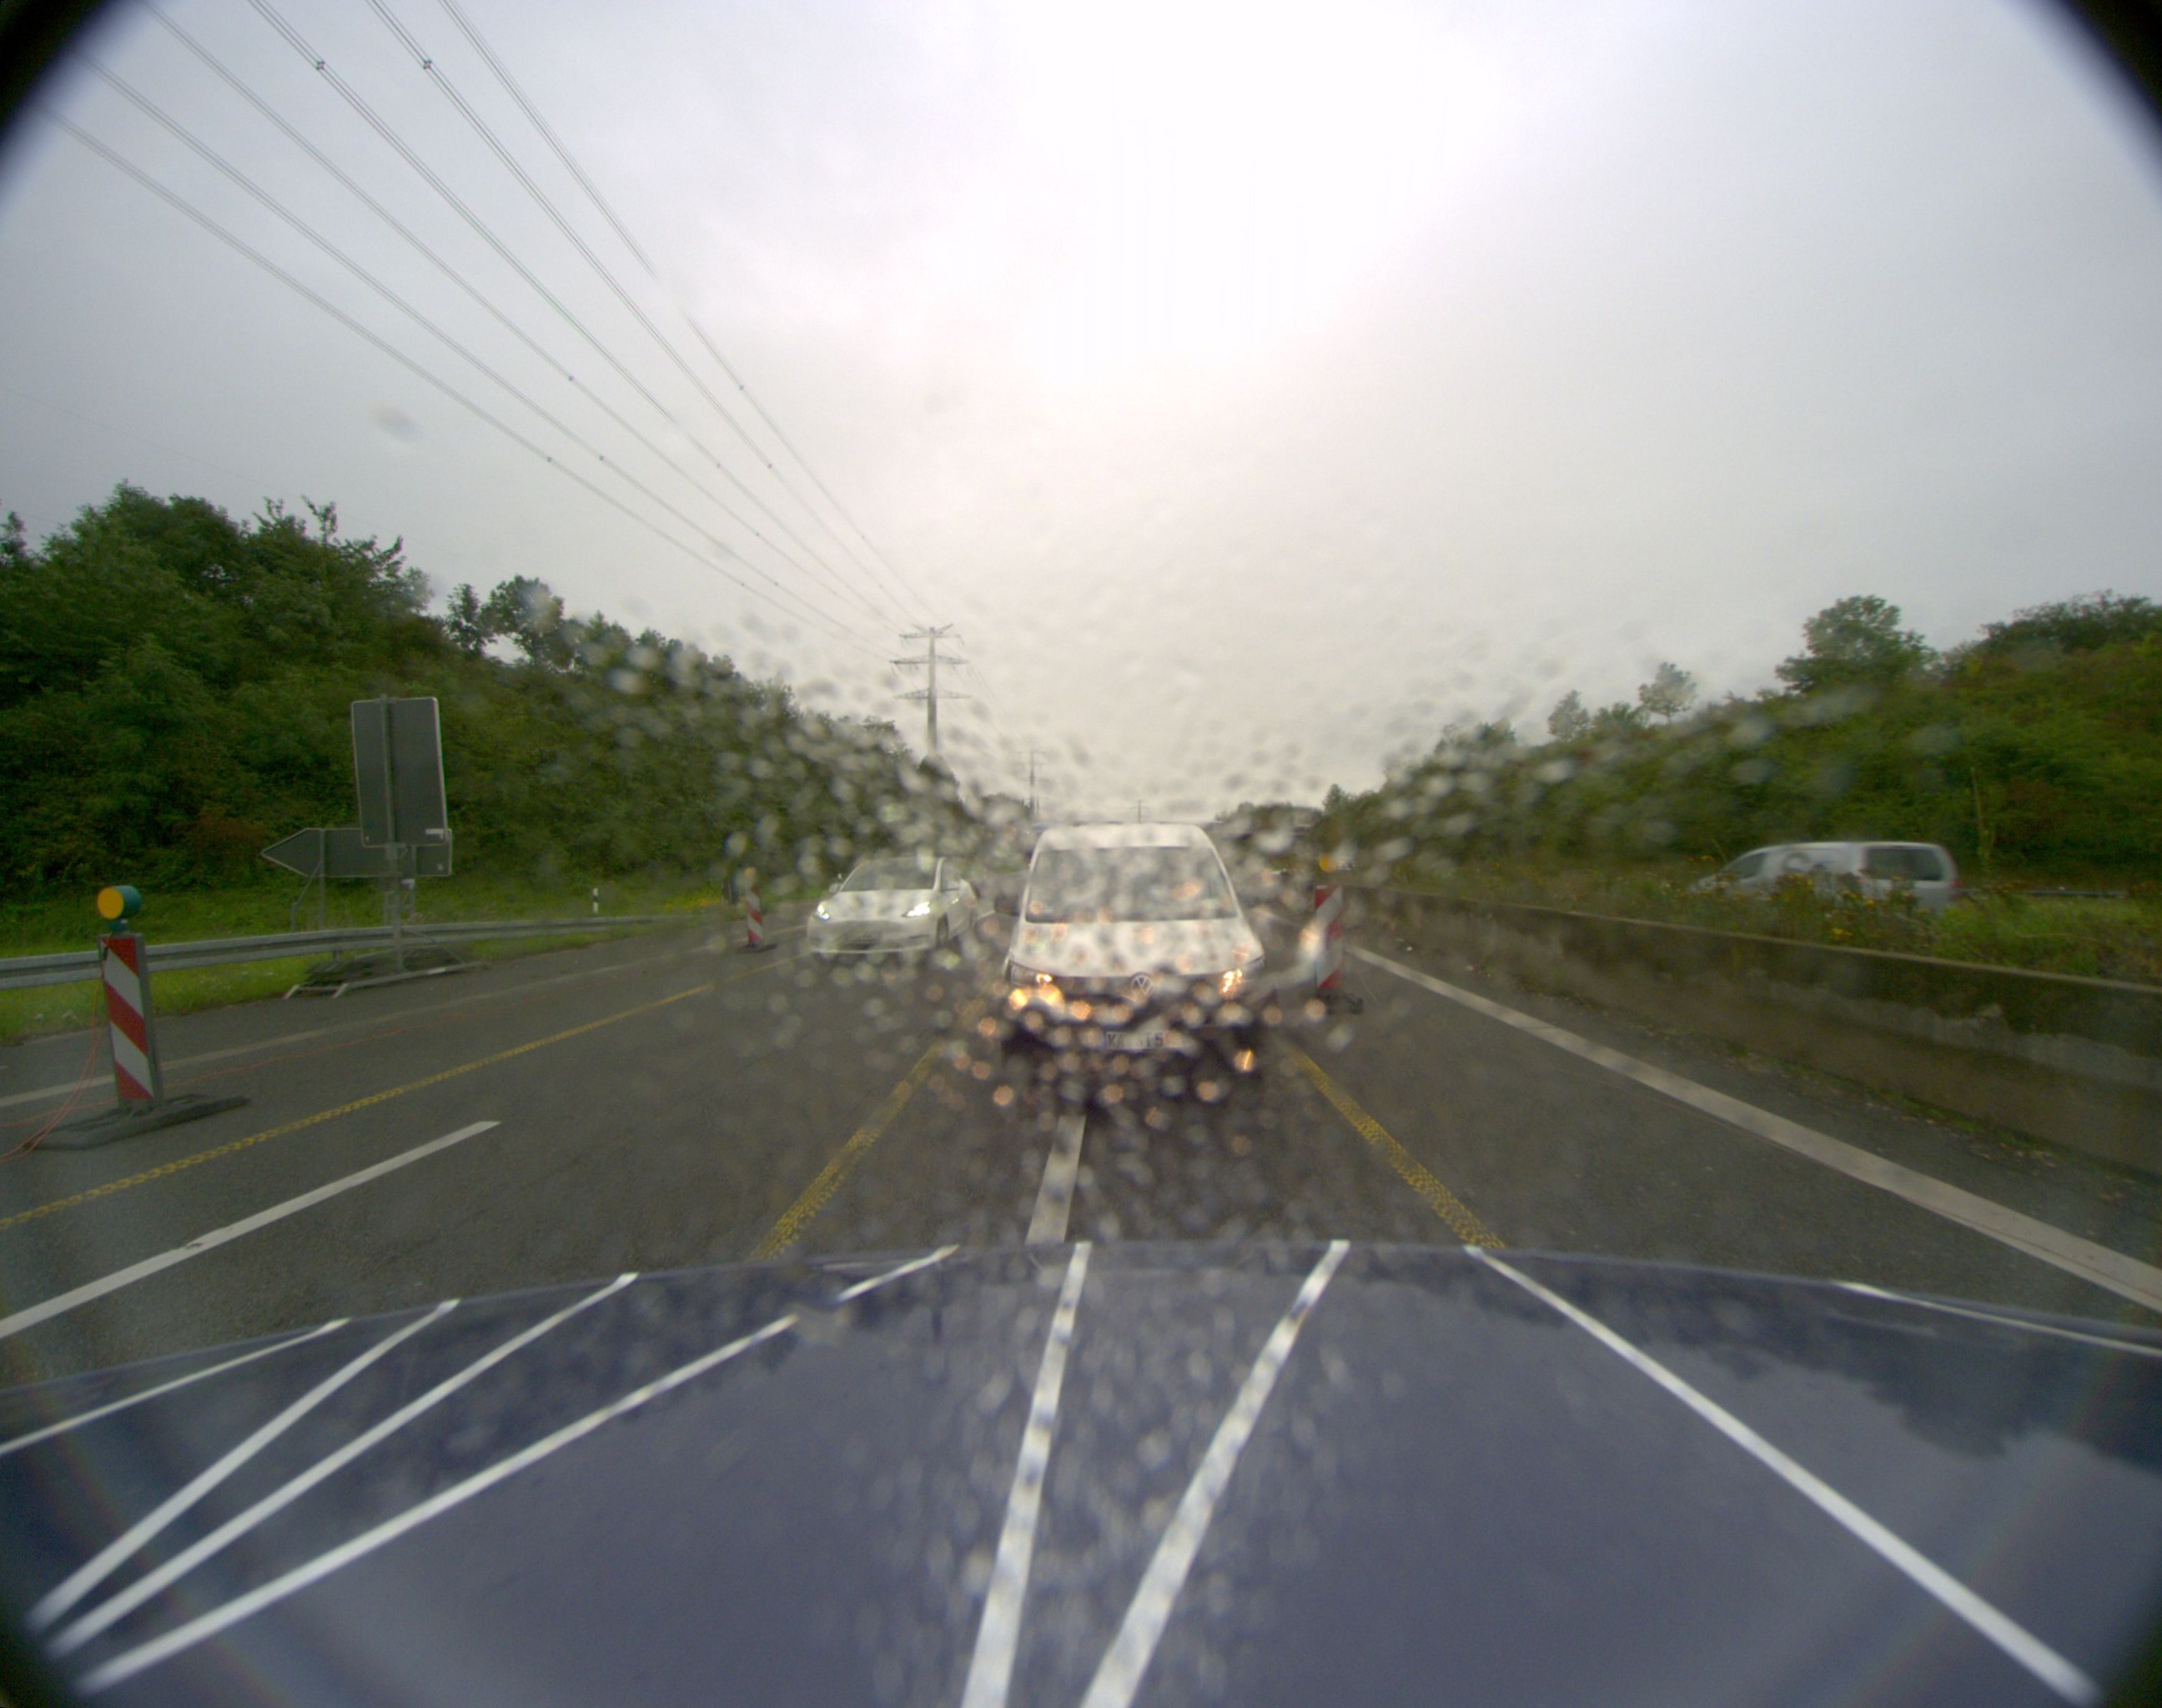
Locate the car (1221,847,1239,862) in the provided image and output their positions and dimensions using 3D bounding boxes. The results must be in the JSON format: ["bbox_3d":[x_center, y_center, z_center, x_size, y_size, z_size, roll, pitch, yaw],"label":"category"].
[{"bbox_3d":[24.708,0.048,125.935,2.245,2.426,5.885,0,0,4],"label":"car"}]

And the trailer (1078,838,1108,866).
[{"bbox_3d":[2.010,-0.406,119.054,2.807,3.980,14.155,-2,1,8],"label":"trailer"}]

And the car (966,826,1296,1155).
[{"bbox_3d":[0.311,0.756,6.551,1.770,1.774,4.647,-2,0,1],"label":"car"}]

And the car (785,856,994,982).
[{"bbox_3d":[-2.973,0.905,13.348,2.051,1.587,5.801,-2,0,1],"label":"car"}]

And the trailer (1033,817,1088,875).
[{"bbox_3d":[-1.331,-0.642,56.834,2.525,3.812,12.353,-2,1,5],"label":"trailer"}]

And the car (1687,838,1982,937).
[{"bbox_3d":[14.147,0.563,14.677,1.872,1.640,4.001,0,0,4],"label":"car"}]

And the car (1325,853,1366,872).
[{"bbox_3d":[21.748,0.687,62.611,1.998,1.471,4.109,0,0,2],"label":"car"}]

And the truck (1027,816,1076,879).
[{"bbox_3d":[-1.899,-0.428,50.367,2.553,3.924,4.001,-2,1,6],"label":"truck"}]

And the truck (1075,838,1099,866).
[{"bbox_3d":[0.939,-0.352,113.028,2.746,3.912,5.400,-2,1,8],"label":"truck"}]

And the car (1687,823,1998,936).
[{"bbox_3d":[14.163,0.390,14.541,1.998,1.791,4.000,-2,1,2],"label":"car"}]
